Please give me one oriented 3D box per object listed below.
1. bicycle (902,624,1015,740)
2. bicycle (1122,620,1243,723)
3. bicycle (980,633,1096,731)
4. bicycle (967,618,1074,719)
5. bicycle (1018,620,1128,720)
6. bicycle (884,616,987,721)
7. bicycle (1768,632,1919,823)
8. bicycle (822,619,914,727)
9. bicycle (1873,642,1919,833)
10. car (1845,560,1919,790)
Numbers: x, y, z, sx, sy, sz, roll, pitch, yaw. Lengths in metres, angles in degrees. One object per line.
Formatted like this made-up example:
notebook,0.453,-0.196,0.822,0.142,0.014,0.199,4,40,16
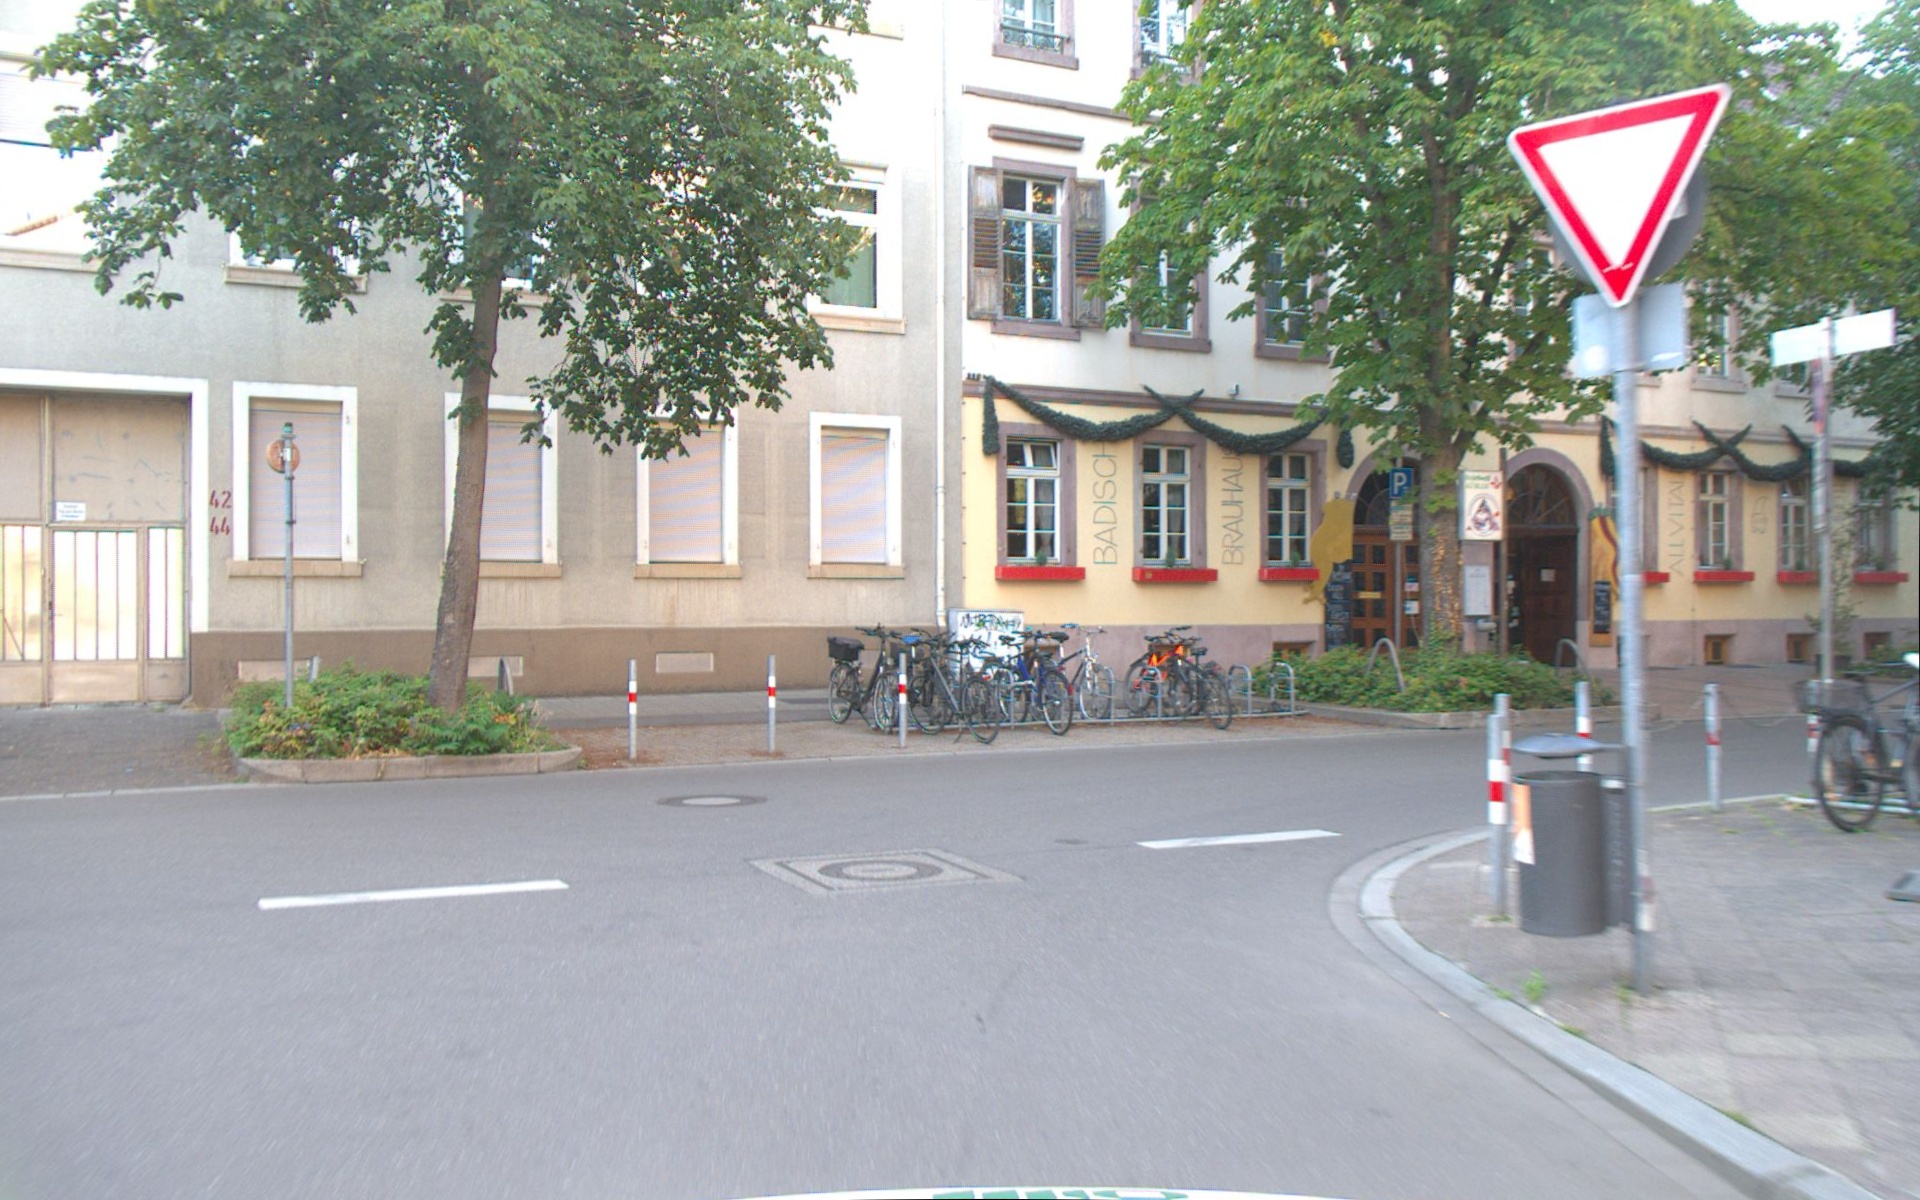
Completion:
bicycle,-0.046,0.869,18.246,0.439,1.165,2.026,-1,0,-25
bicycle,2.712,0.846,20.350,0.415,1.165,2.025,-1,0,-26
bicycle,0.875,0.919,19.127,0.415,1.021,2.025,-1,0,-26
bicycle,0.720,0.824,20.547,0.415,1.165,2.025,-1,0,-26
bicycle,1.396,0.848,20.802,0.415,1.165,2.025,-1,0,-26
bicycle,-0.318,0.796,19.916,0.415,1.165,2.025,-1,0,-26
bicycle,6.014,0.784,10.658,1.841,1.108,0.361,-2,-1,-26
bicycle,-1.107,0.830,19.489,0.439,1.165,2.028,-1,0,-22
bicycle,6.415,0.790,10.186,1.841,1.108,0.361,-2,-1,-26
car,8.843,0.505,11.540,1.748,1.769,4.556,-2,-1,-24
